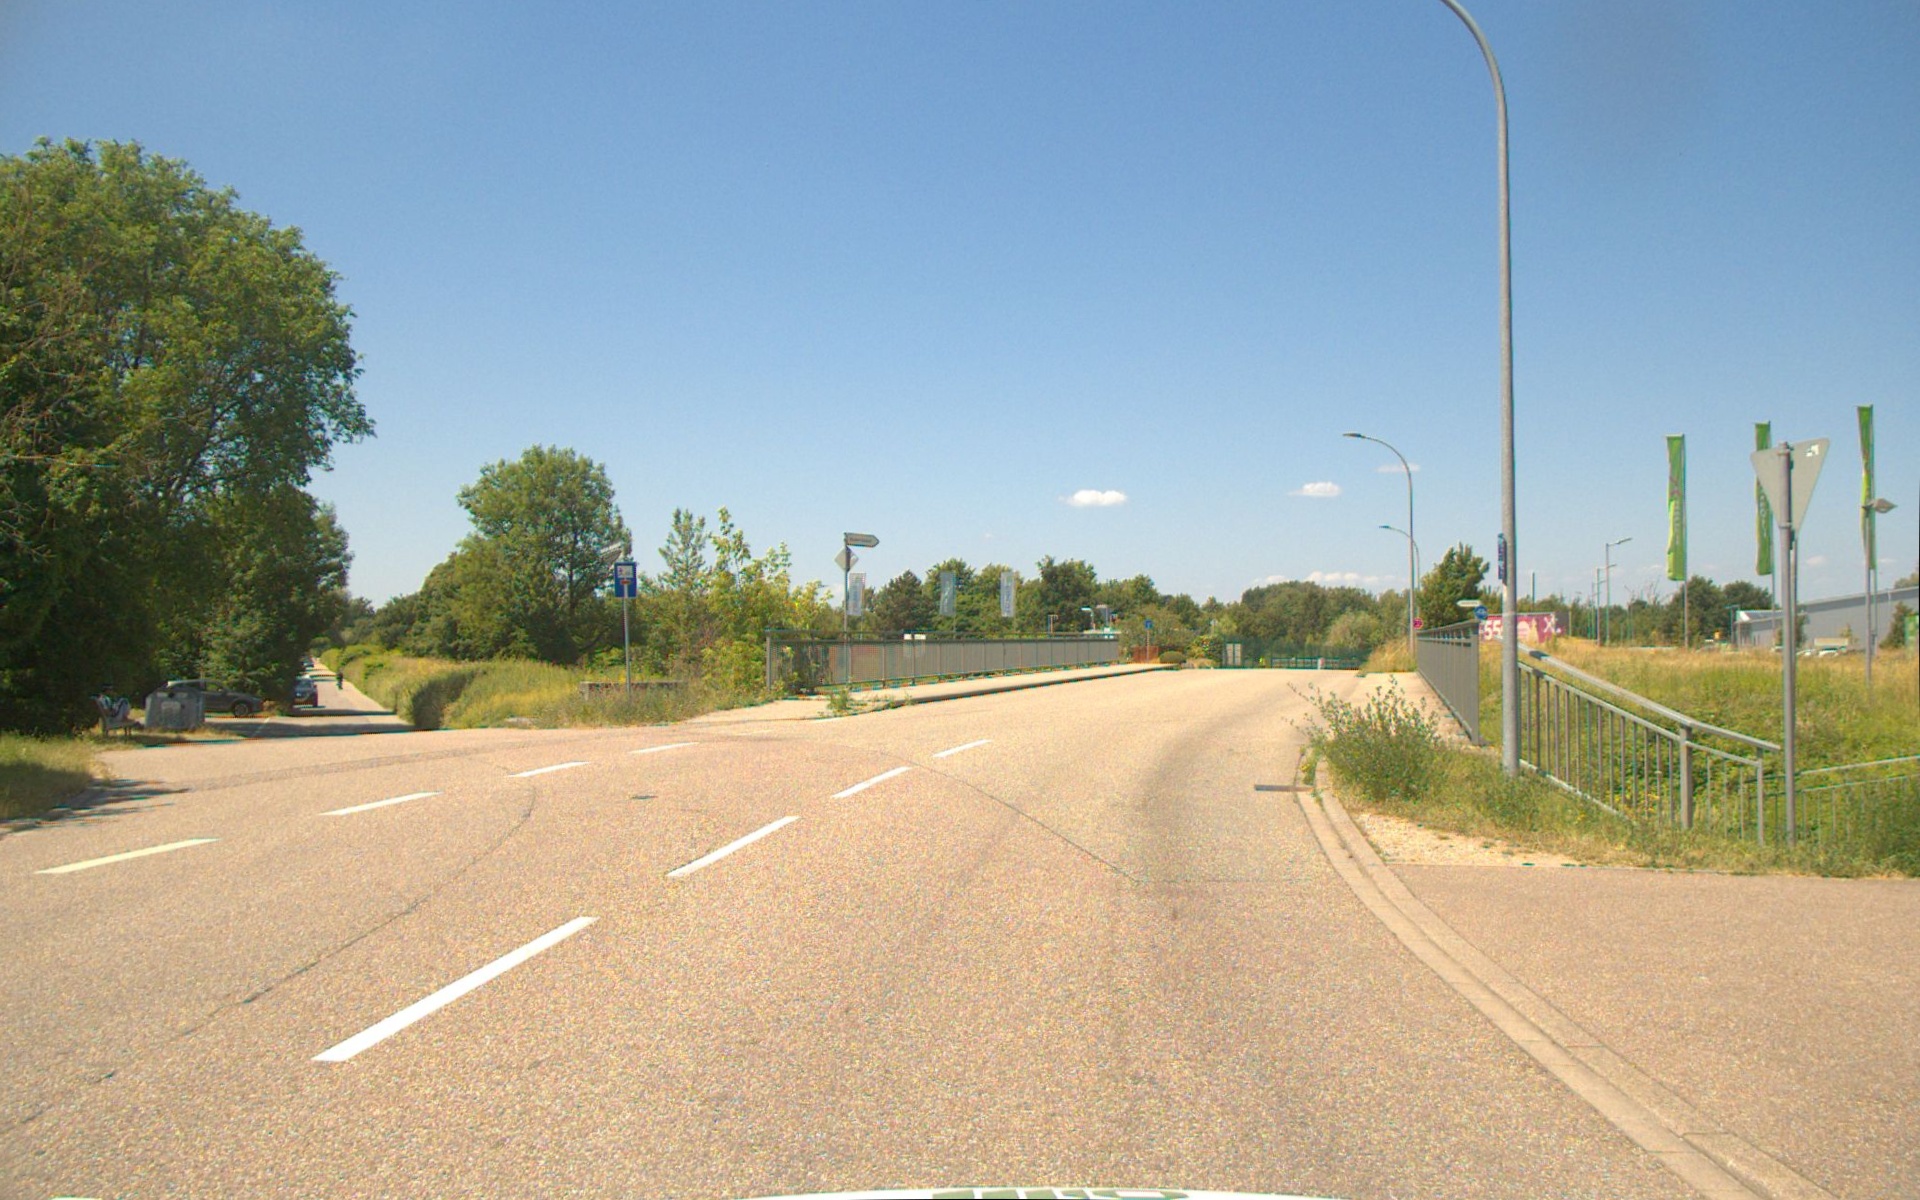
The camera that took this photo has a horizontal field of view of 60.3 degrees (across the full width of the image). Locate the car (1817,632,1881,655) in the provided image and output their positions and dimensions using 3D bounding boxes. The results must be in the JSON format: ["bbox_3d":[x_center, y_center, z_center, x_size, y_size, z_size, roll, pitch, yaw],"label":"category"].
[{"bbox_3d":[61.524,3.013,114.522,3.659,1.598,1.890,0,-1,21],"label":"car"}]

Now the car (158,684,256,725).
[{"bbox_3d":[-33.936,4.681,74.659,3.935,1.598,1.985,-1,-1,-24],"label":"car"}]

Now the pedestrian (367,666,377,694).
[{"bbox_3d":[-43.775,5.915,123.102,0.604,2.049,0.620,-1,-1,-27],"label":"pedestrian"}]

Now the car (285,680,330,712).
[{"bbox_3d":[-36.762,5.398,93.136,1.970,1.624,3.964,-1,-2,-27],"label":"car"}]

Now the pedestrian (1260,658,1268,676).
[{"bbox_3d":[31.551,6.986,171.795,0.593,1.871,0.804,-2,-3,23],"label":"pedestrian"}]
